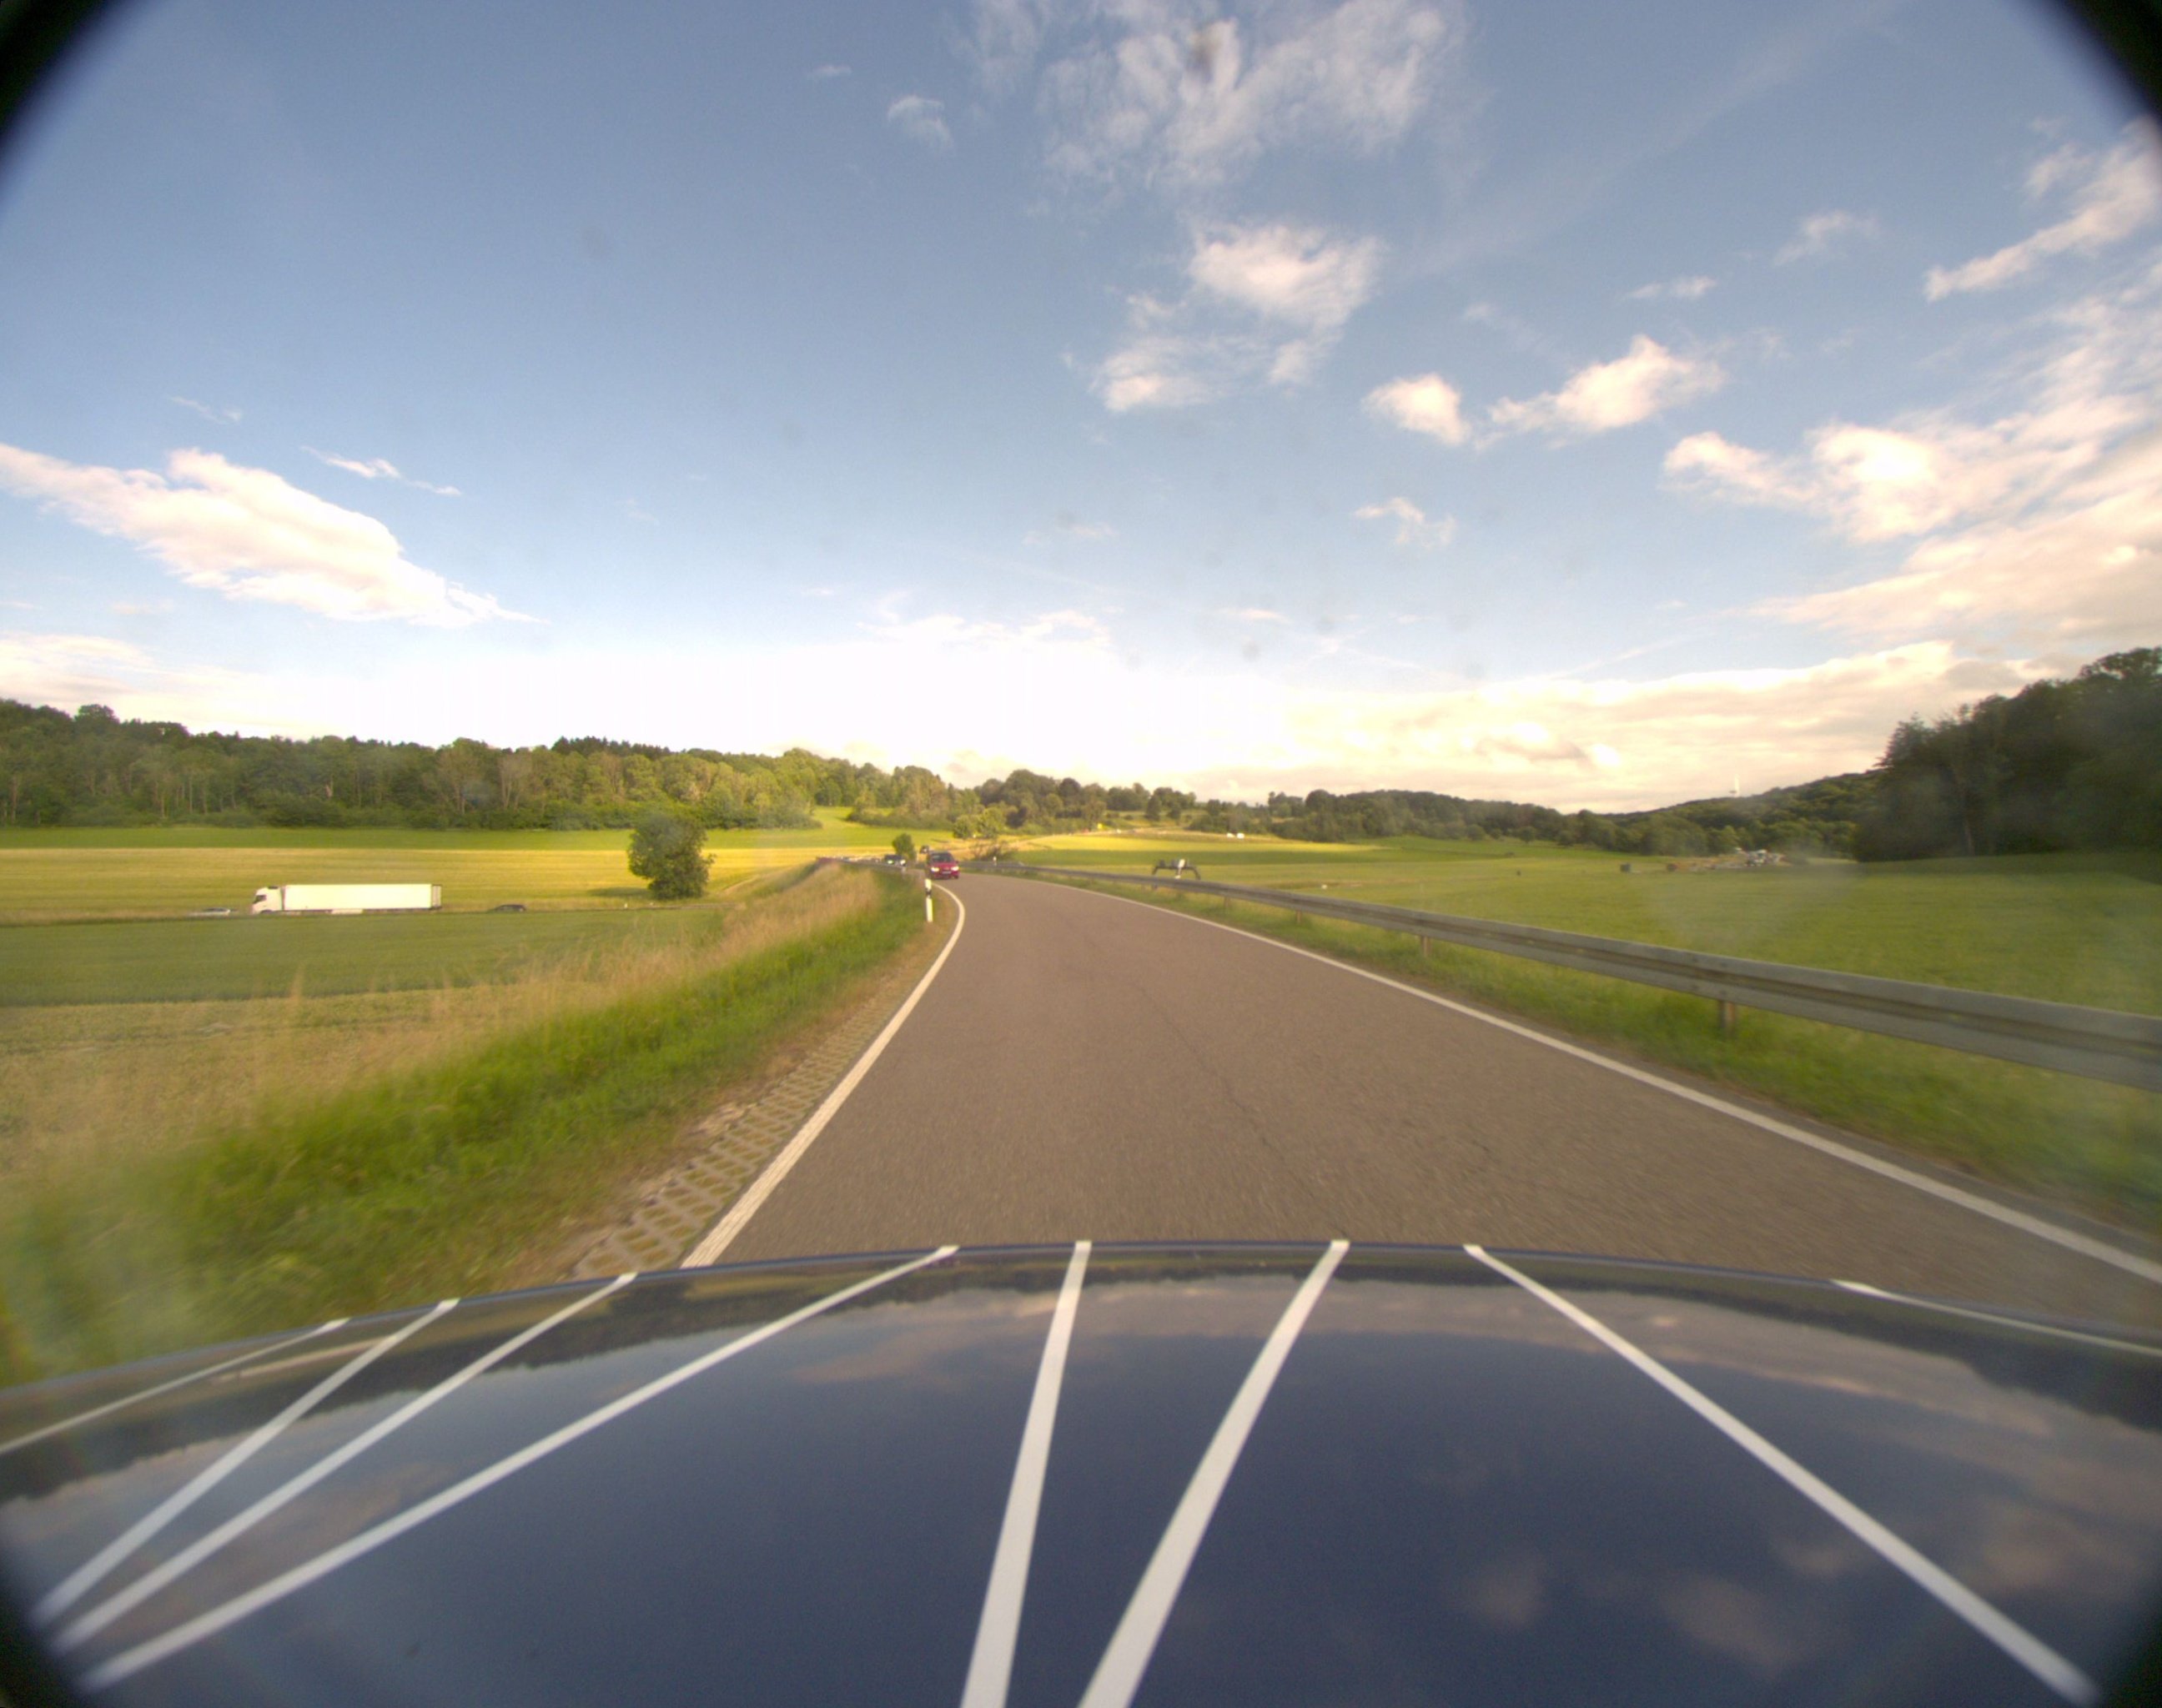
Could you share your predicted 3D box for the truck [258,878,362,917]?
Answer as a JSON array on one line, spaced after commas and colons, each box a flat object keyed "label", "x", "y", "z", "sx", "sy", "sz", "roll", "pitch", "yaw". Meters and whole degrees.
[{"label": "truck", "x": -90.855, "y": 5.048, "z": 89.745, "sx": 8.064, "sy": 4.440, "sz": 3.025, "roll": 0, "pitch": -2, "yaw": -20}]

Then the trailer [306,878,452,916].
[{"label": "trailer", "x": -84.632, "y": 5.110, "z": 92.031, "sx": 12.740, "sy": 4.440, "sz": 3.028, "roll": 0, "pitch": -2, "yaw": -20}]

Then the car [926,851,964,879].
[{"label": "car", "x": -8.957, "y": 0.682, "z": 49.746, "sx": 1.823, "sy": 1.645, "sz": 3.994, "roll": -4, "pitch": 1, "yaw": -18}]

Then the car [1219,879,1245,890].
[{"label": "car", "x": 25.307, "y": 5.149, "z": 127.370, "sx": 4.006, "sy": 1.641, "sz": 1.824, "roll": 0, "pitch": 2, "yaw": -27}]

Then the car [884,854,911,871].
[{"label": "car", "x": -18.434, "y": 0.839, "z": 76.091, "sx": 1.825, "sy": 1.601, "sz": 3.991, "roll": 0, "pitch": 0, "yaw": -26}]
